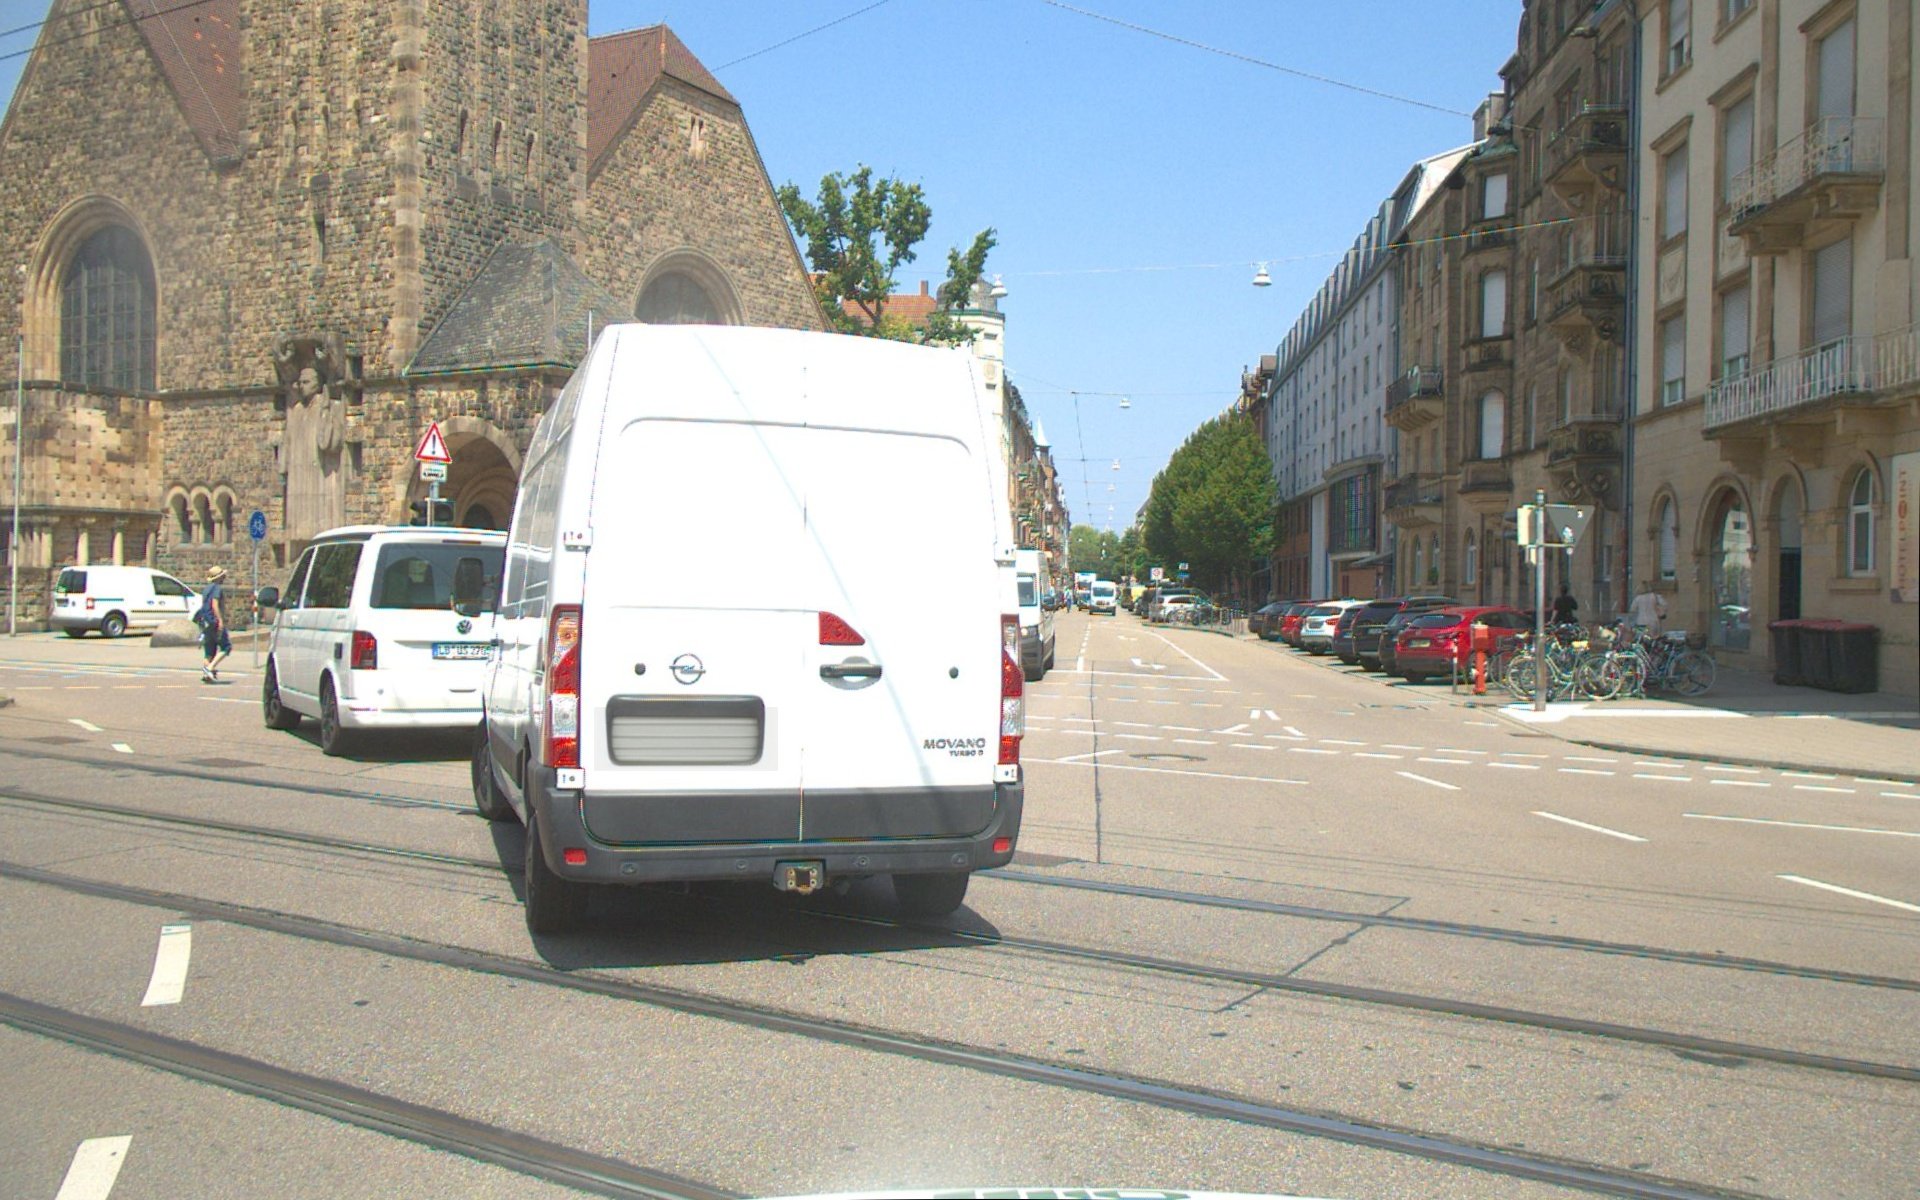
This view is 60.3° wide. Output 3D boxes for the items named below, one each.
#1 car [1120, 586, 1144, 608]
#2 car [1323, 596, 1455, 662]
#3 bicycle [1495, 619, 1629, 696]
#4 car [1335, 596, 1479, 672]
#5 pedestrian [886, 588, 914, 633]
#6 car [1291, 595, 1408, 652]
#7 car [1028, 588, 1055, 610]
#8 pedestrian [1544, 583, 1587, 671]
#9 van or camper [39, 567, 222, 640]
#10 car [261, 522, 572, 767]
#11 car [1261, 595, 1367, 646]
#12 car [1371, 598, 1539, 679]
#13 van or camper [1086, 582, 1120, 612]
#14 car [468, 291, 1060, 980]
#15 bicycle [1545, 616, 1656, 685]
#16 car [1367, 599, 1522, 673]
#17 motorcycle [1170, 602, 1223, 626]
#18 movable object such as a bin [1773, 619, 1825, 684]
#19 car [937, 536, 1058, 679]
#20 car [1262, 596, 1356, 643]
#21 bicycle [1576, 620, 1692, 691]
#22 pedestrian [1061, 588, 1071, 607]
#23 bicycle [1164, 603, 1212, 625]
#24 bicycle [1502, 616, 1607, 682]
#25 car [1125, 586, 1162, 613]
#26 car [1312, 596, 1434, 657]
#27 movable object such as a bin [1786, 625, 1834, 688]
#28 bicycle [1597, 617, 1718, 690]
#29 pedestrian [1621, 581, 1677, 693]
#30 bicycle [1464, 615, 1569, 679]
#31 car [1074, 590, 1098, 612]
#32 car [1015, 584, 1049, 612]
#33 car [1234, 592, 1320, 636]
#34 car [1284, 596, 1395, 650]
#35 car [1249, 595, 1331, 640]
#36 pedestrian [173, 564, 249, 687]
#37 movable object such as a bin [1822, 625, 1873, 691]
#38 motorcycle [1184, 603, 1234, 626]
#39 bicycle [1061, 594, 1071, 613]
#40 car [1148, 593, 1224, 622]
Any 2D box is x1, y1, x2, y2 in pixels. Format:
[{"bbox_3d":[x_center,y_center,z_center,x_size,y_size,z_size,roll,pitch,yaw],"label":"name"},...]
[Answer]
[{"bbox_3d":[15.754,-0.265,151.696,1.866,2.049,4.003,0,-1,11],"label":"car"},{"bbox_3d":[11.046,0.731,42.577,3.189,1.602,1.597,-1,-1,-35],"label":"car"},{"bbox_3d":[9.729,0.912,26.805,2.011,1.171,0.565,1,0,19],"label":"bicycle"},{"bbox_3d":[10.584,0.798,39.131,3.189,1.694,1.597,-1,-1,-35],"label":"car"},{"bbox_3d":[-2.105,0.372,58.452,0.704,1.586,0.791,1,-1,23],"label":"pedestrian"},{"bbox_3d":[11.501,0.685,48.789,3.186,1.602,1.599,-1,-1,-33],"label":"car"},{"bbox_3d":[6.744,-0.095,137.780,1.914,1.780,3.999,1,0,-2],"label":"car"},{"bbox_3d":[14.442,0.642,39.454,0.846,2.049,1.102,1,-1,15],"label":"pedestrian"},{"bbox_3d":[-22.165,0.103,44.341,1.955,1.839,3.996,1,0,26],"label":"van or camper"},{"bbox_3d":[-5.261,0.334,15.647,1.898,1.978,4.219,0,1,-31],"label":"car"},{"bbox_3d":[11.649,0.680,54.398,3.183,1.602,1.600,-1,-1,-31],"label":"car"},{"bbox_3d":[9.981,0.755,33.298,3.189,1.505,1.597,-1,-1,-35],"label":"car"},{"bbox_3d":[10.649,-0.269,123.609,1.995,2.179,4.579,1,0,-1],"label":"van or camper"},{"bbox_3d":[-1.397,0.141,8.745,2.085,2.502,5.026,1,0,-19],"label":"car"},{"bbox_3d":[11.125,0.875,28.792,1.762,1.171,0.565,-1,-1,19],"label":"bicycle"},{"bbox_3d":[10.619,0.772,36.199,3.189,1.505,1.597,-1,-1,-35],"label":"car"},{"bbox_3d":[12.208,0.737,85.361,2.652,1.195,0.776,1,0,7],"label":"motorcycle"},{"bbox_3d":[14.273,0.866,28.145,0.654,1.083,0.591,1,-1,13],"label":"movable object such as a bin"},{"bbox_3d":[0.901,0.156,34.625,2.027,2.683,6.637,1,0,5],"label":"car"},{"bbox_3d":[12.354,0.686,58.436,3.196,1.602,1.594,-1,-1,-40],"label":"car"},{"bbox_3d":[11.316,0.932,27.835,1.762,1.171,0.565,-1,-1,19],"label":"bicycle"},{"bbox_3d":[8.056,-0.200,125.792,0.715,1.445,0.799,1,0,2],"label":"pedestrian"},{"bbox_3d":[12.337,0.757,89.501,2.550,1.195,0.679,1,-1,-18],"label":"bicycle"},{"bbox_3d":[10.690,0.872,29.783,1.762,1.171,0.565,-1,-1,19],"label":"bicycle"},{"bbox_3d":[12.193,-0.041,110.174,1.914,1.780,3.999,1,0,-2],"label":"car"},{"bbox_3d":[11.534,0.724,46.140,3.189,1.602,1.597,-1,-1,-35],"label":"car"},{"bbox_3d":[14.072,0.931,27.398,0.568,1.012,0.591,1,-1,13],"label":"movable object such as a bin"},{"bbox_3d":[11.329,0.862,26.900,1.762,1.171,0.565,-1,-1,19],"label":"bicycle"},{"bbox_3d":[13.564,0.711,32.593,0.846,2.151,1.102,1,-1,15],"label":"pedestrian"},{"bbox_3d":[10.336,0.870,30.746,1.762,1.171,0.565,0,-1,0],"label":"bicycle"},{"bbox_3d":[10.875,0.111,143.070,1.952,1.799,4.001,1,0,2],"label":"car"},{"bbox_3d":[4.728,-0.158,109.435,1.914,1.780,3.999,1,0,-2],"label":"car"},{"bbox_3d":[12.256,0.528,63.885,3.198,1.602,1.592,-1,-1,-41],"label":"car"},{"bbox_3d":[11.899,0.708,51.847,3.183,1.602,1.600,-1,-1,-31],"label":"car"},{"bbox_3d":[12.244,0.636,61.252,1.471,1.602,3.204,-2,-1,44],"label":"car"},{"bbox_3d":[-11.561,0.383,25.529,0.817,1.854,0.742,1,-1,37],"label":"pedestrian"},{"bbox_3d":[14.117,0.917,26.308,0.568,1.012,0.591,1,-1,13],"label":"movable object such as a bin"},{"bbox_3d":[12.967,0.754,86.208,2.535,1.195,0.683,1,0,7],"label":"motorcycle"},{"bbox_3d":[8.051,0.268,125.674,0.659,1.383,2.070,1,0,3],"label":"bicycle"},{"bbox_3d":[12.734,0.406,93.285,3.926,1.576,1.740,1,0,-19],"label":"car"}]
